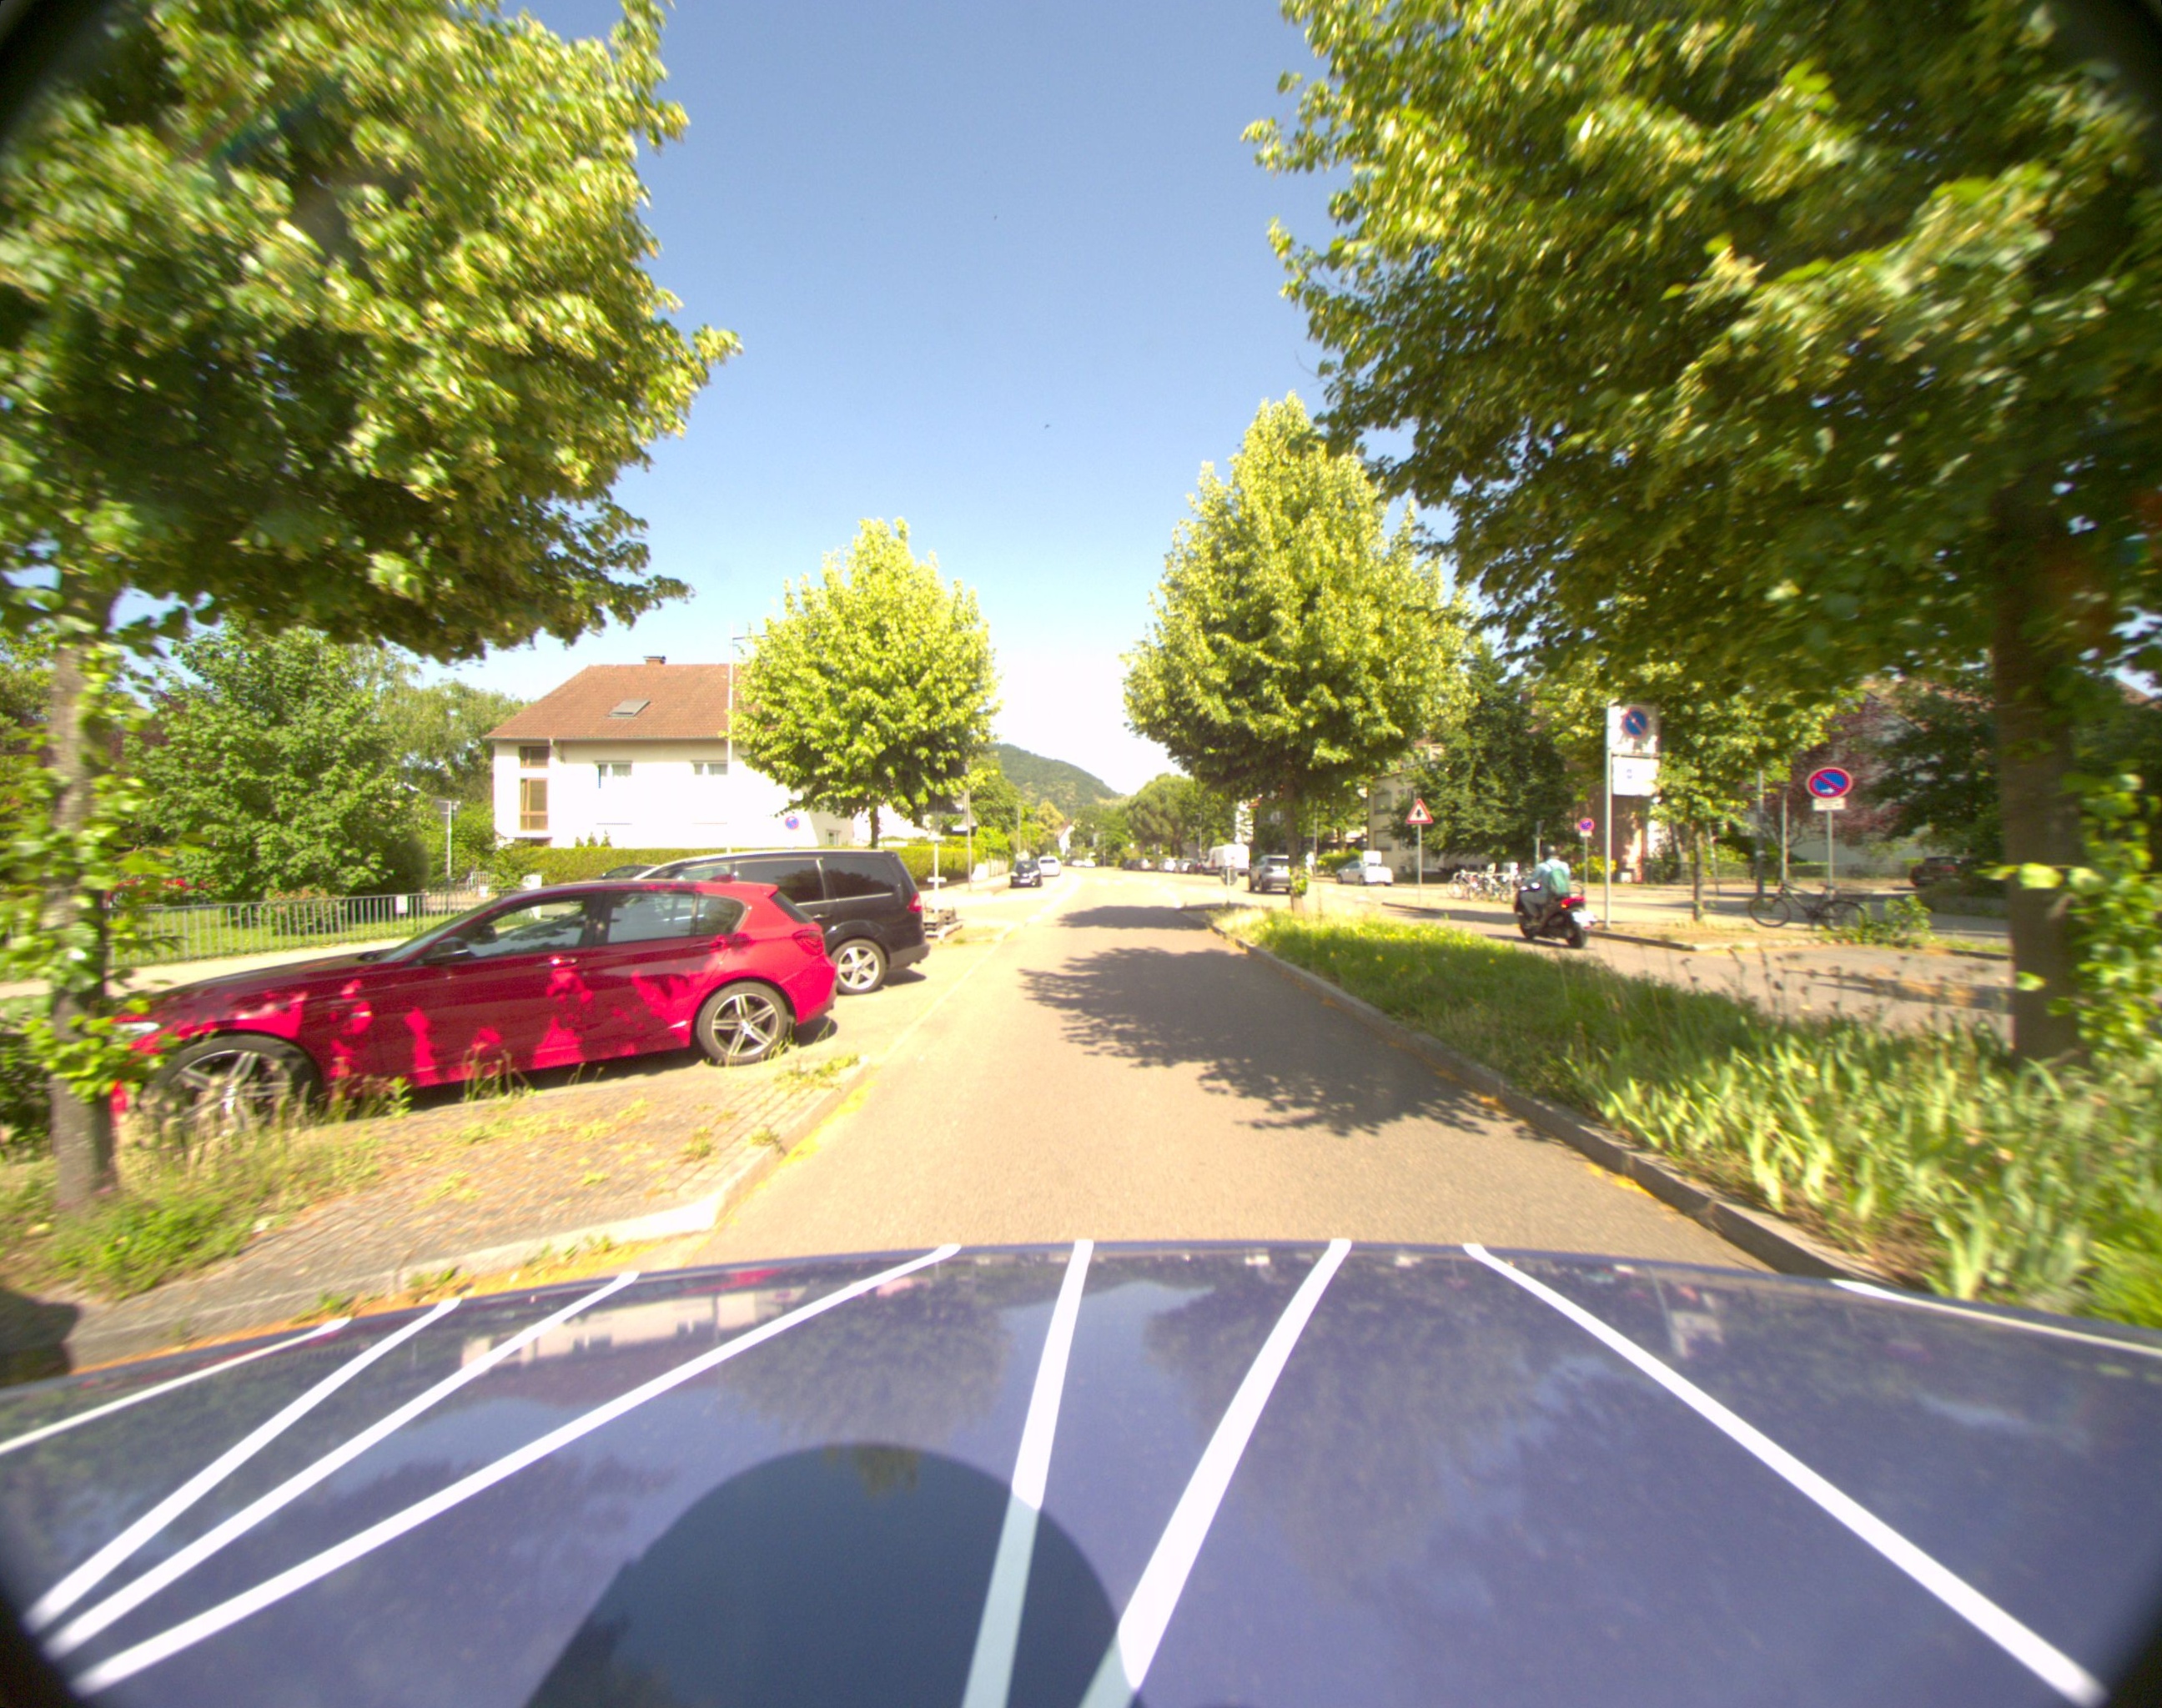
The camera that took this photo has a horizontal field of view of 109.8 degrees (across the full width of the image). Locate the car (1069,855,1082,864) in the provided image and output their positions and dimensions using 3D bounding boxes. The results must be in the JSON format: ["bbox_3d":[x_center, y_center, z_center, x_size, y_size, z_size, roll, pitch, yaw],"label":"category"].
[{"bbox_3d":[-1.034,1.071,142.766,2.000,1.608,3.997,0,0,-8],"label":"car"}]

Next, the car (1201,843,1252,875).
[{"bbox_3d":[11.955,0.410,62.889,2.096,2.482,5.947,1,-1,-10],"label":"car"}]

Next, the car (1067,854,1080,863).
[{"bbox_3d":[-1.466,0.892,149.783,2.000,1.674,3.997,0,0,-8],"label":"car"}]

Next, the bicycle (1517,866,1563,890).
[{"bbox_3d":[20.689,1.070,34.254,1.711,1.074,0.379,-1,0,41],"label":"bicycle"}]

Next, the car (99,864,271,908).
[{"bbox_3d":[-30.945,1.084,26.333,3.997,1.447,1.648,0,0,0],"label":"car"}]

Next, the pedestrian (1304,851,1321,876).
[{"bbox_3d":[16.539,0.640,54.257,0.976,1.769,0.725,0,1,-3],"label":"pedestrian"}]

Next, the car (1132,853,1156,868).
[{"bbox_3d":[7.483,0.778,90.799,1.847,1.754,4.582,1,-1,-9],"label":"car"}]

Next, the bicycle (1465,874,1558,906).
[{"bbox_3d":[13.568,1.129,23.990,2.551,0.982,0.739,1,0,-2],"label":"bicycle"}]

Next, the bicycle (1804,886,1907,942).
[{"bbox_3d":[14.163,1.080,13.939,0.522,0.898,1.270,1,1,-4],"label":"bicycle"}]

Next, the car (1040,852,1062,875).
[{"bbox_3d":[-2.616,0.812,66.436,1.767,1.816,4.597,-2,1,-2],"label":"car"}]

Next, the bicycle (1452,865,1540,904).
[{"bbox_3d":[13.742,0.996,25.193,2.551,1.232,0.739,1,0,-2],"label":"bicycle"}]

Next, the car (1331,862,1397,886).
[{"bbox_3d":[15.373,1.059,41.518,1.725,1.259,3.998,1,-1,-7],"label":"car"}]

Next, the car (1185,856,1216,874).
[{"bbox_3d":[10.802,1.021,68.858,1.725,1.550,3.998,1,-1,-7],"label":"car"}]

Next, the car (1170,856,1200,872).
[{"bbox_3d":[10.014,0.957,73.700,1.725,1.550,4.669,1,-1,-7],"label":"car"}]

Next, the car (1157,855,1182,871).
[{"bbox_3d":[9.273,0.940,79.969,1.725,1.550,3.998,1,-1,-7],"label":"car"}]

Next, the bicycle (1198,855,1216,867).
[{"bbox_3d":[15.240,0.837,91.997,2.179,1.375,0.502,1,0,-11],"label":"bicycle"}]

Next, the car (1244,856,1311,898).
[{"bbox_3d":[7.848,0.874,30.656,1.745,1.538,4.073,1,0,2],"label":"car"}]

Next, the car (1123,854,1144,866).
[{"bbox_3d":[6.610,0.760,96.219,1.847,1.448,4.190,1,-1,-9],"label":"car"}]

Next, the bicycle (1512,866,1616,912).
[{"bbox_3d":[13.820,0.990,21.766,2.551,1.249,0.739,0,0,-2],"label":"bicycle"}]

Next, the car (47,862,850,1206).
[{"bbox_3d":[-4.044,0.931,5.726,4.007,1.630,1.875,-1,1,-35],"label":"car"}]

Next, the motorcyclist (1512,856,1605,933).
[{"bbox_3d":[7.923,0.650,12.663,0.903,1.214,1.062,-1,0,2],"label":"motorcyclist"}]

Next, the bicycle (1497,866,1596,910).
[{"bbox_3d":[13.880,1.005,22.673,2.522,1.249,0.739,1,0,-2],"label":"bicycle"}]

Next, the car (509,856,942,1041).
[{"bbox_3d":[-3.949,0.862,8.817,4.127,1.630,2.039,-1,0,-32],"label":"car"}]

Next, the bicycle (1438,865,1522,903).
[{"bbox_3d":[13.793,1.031,26.290,2.551,1.249,0.739,1,0,-2],"label":"bicycle"}]

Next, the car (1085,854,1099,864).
[{"bbox_3d":[1.866,0.852,130.300,1.960,1.543,3.997,-1,0,-8],"label":"car"}]

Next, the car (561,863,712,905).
[{"bbox_3d":[-15.319,1.040,26.342,4.126,1.389,1.812,0,-3,1],"label":"car"}]

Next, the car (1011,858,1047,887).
[{"bbox_3d":[-2.810,0.971,41.510,1.621,1.382,4.000,-3,0,0],"label":"car"}]

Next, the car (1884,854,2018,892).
[{"bbox_3d":[36.918,0.789,32.316,3.793,1.543,1.748,0,0,-2],"label":"car"}]

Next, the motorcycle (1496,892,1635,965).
[{"bbox_3d":[7.928,1.176,12.585,0.925,0.987,2.235,-1,0,2],"label":"motorcycle"}]
